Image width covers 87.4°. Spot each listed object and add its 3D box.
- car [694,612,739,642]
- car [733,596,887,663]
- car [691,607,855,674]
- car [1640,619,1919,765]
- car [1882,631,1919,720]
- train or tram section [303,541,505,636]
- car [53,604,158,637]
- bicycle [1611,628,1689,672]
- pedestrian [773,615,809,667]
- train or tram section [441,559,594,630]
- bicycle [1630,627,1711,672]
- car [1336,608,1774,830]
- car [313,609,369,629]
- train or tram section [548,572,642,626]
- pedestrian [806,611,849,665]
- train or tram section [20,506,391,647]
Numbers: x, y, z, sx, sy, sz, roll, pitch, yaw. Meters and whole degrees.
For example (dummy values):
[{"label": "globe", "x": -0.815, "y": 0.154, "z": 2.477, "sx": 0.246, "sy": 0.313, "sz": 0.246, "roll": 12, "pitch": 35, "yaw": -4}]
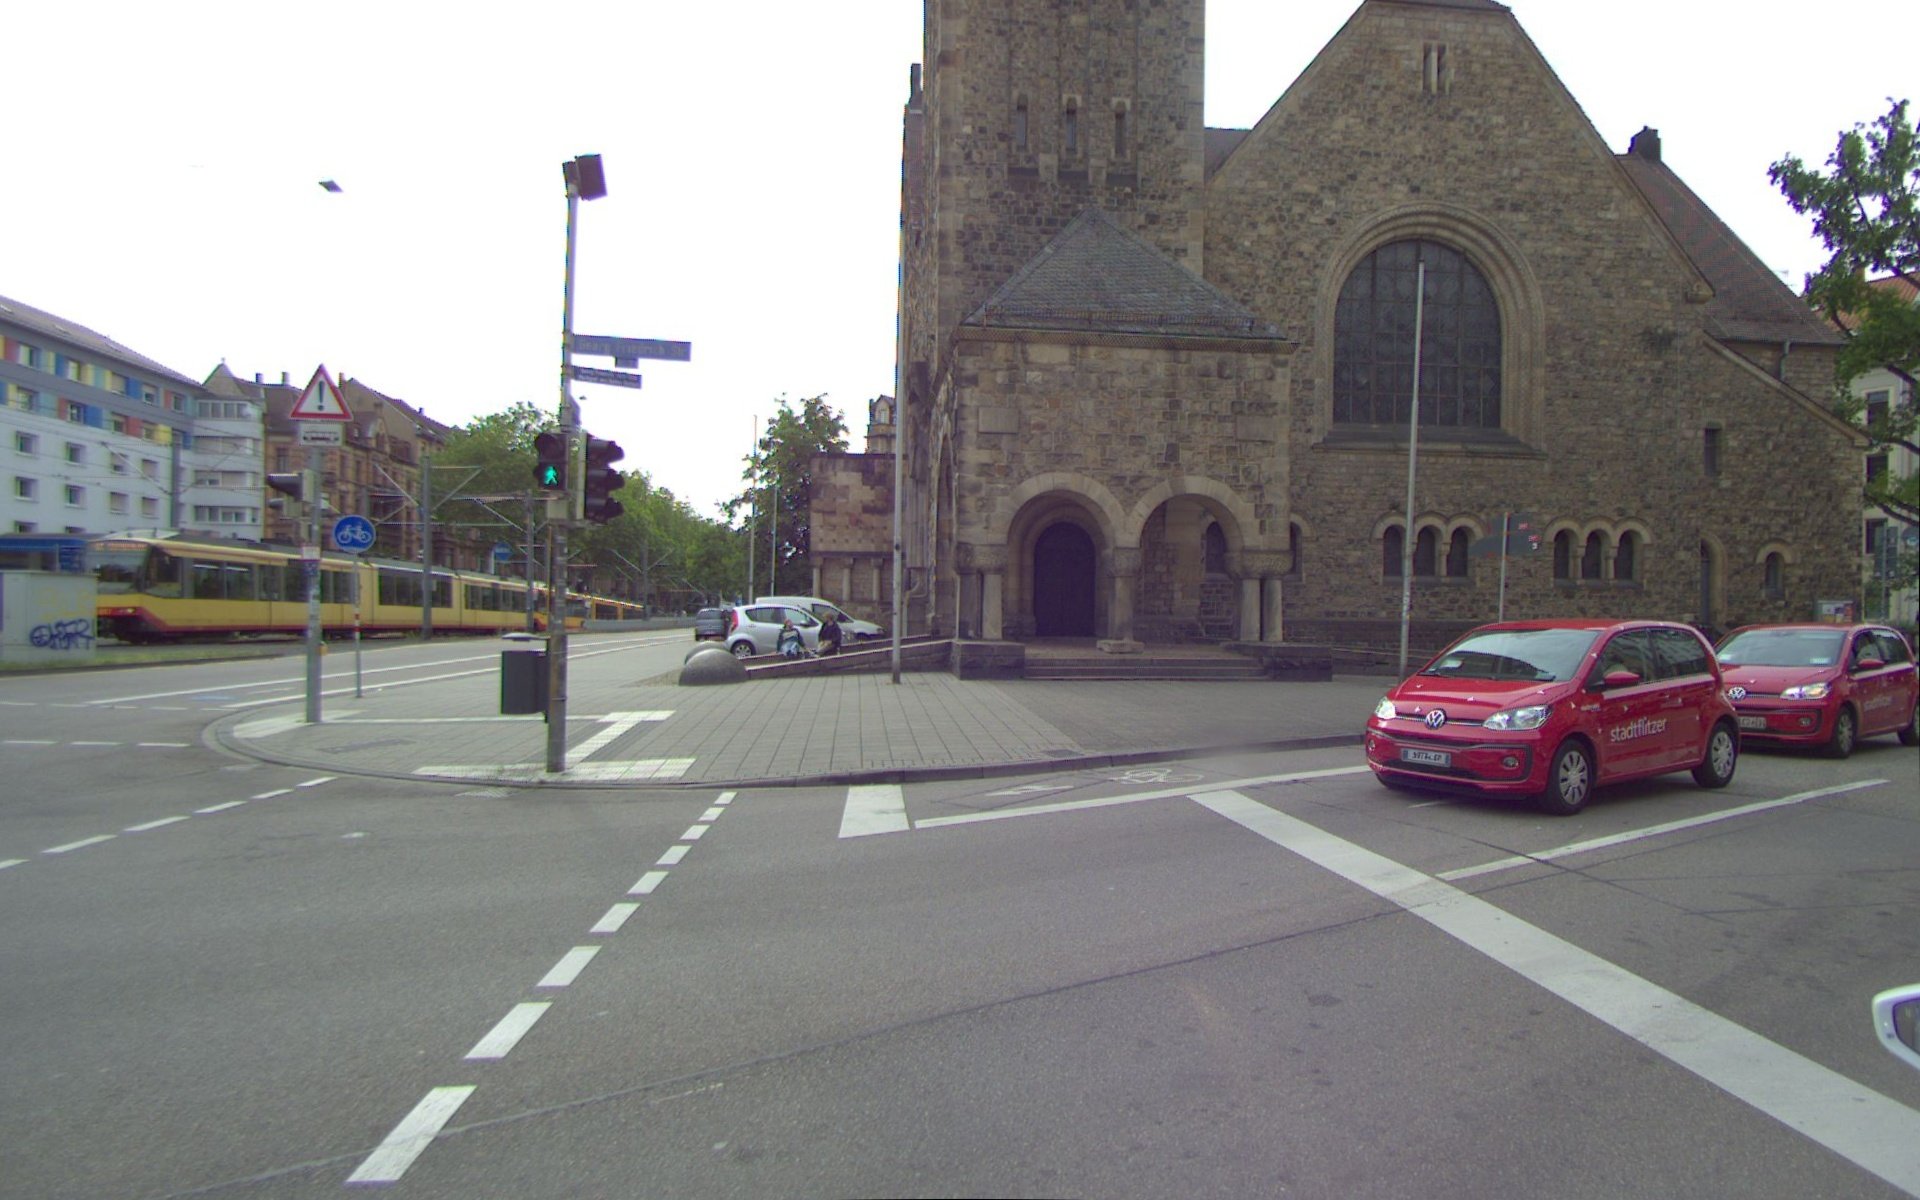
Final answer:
[{"label": "car", "x": -12.674, "y": 1.385, "z": 52.408, "sx": 1.676, "sy": 1.478, "sz": 3.887, "roll": 2, "pitch": -1, "yaw": -5}, {"label": "car", "x": -4.598, "y": 0.912, "z": 31.189, "sx": 4.539, "sy": 1.906, "sz": 1.661, "roll": 2, "pitch": -1, "yaw": -6}, {"label": "car", "x": -5.087, "y": 1.099, "z": 27.805, "sx": 4.281, "sy": 1.658, "sz": 1.661, "roll": 2, "pitch": -1, "yaw": -6}, {"label": "car", "x": 9.823, "y": 1.015, "z": 11.887, "sx": 3.677, "sy": 1.476, "sz": 1.594, "roll": 2, "pitch": -3, "yaw": -32}, {"label": "car", "x": 16.115, "y": 1.147, "z": 15.473, "sx": 3.995, "sy": 1.303, "sz": 1.697, "roll": 2, "pitch": -3, "yaw": -30}, {"label": "train or tram section", "x": -28.552, "y": -0.412, "z": 52.943, "sx": 3.514, "sy": 4.147, "sz": 15.026, "roll": 2, "pitch": -1, "yaw": -6}, {"label": "car", "x": -38.719, "y": 0.913, "z": 45.644, "sx": 1.676, "sy": 1.376, "sz": 3.887, "roll": 2, "pitch": -1, "yaw": -5}, {"label": "bicycle", "x": 19.293, "y": 1.385, "z": 28.141, "sx": 0.651, "sy": 1.145, "sz": 1.777, "roll": 1, "pitch": 0, "yaw": -18}, {"label": "pedestrian", "x": -4.113, "y": 0.981, "z": 24.492, "sx": 0.725, "sy": 1.207, "sz": 1.492, "roll": 2, "pitch": -1, "yaw": -6}, {"label": "train or tram section", "x": -30.229, "y": -0.196, "z": 70.361, "sx": 3.560, "sy": 4.147, "sz": 19.932, "roll": 2, "pitch": -1, "yaw": -5}, {"label": "bicycle", "x": 20.049, "y": 1.376, "z": 28.388, "sx": 0.730, "sy": 1.182, "sz": 1.777, "roll": 1, "pitch": 0, "yaw": -18}, {"label": "car", "x": 5.252, "y": 0.875, "z": 8.769, "sx": 3.849, "sy": 1.548, "sz": 1.641, "roll": 0, "pitch": -2, "yaw": -31}, {"label": "car", "x": -42.025, "y": 1.284, "z": 68.283, "sx": 1.676, "sy": 1.237, "sz": 3.887, "roll": 2, "pitch": -1, "yaw": -5}, {"label": "train or tram section", "x": -31.788, "y": 0.032, "z": 88.449, "sx": 3.458, "sy": 4.147, "sz": 16.195, "roll": 2, "pitch": -1, "yaw": -5}, {"label": "pedestrian", "x": -3.225, "y": 0.918, "z": 24.520, "sx": 0.724, "sy": 1.245, "sz": 1.063, "roll": 2, "pitch": -1, "yaw": 9}, {"label": "train or tram section", "x": -27.119, "y": -0.588, "z": 37.992, "sx": 3.585, "sy": 4.147, "sz": 15.029, "roll": 2, "pitch": -1, "yaw": -5}]
